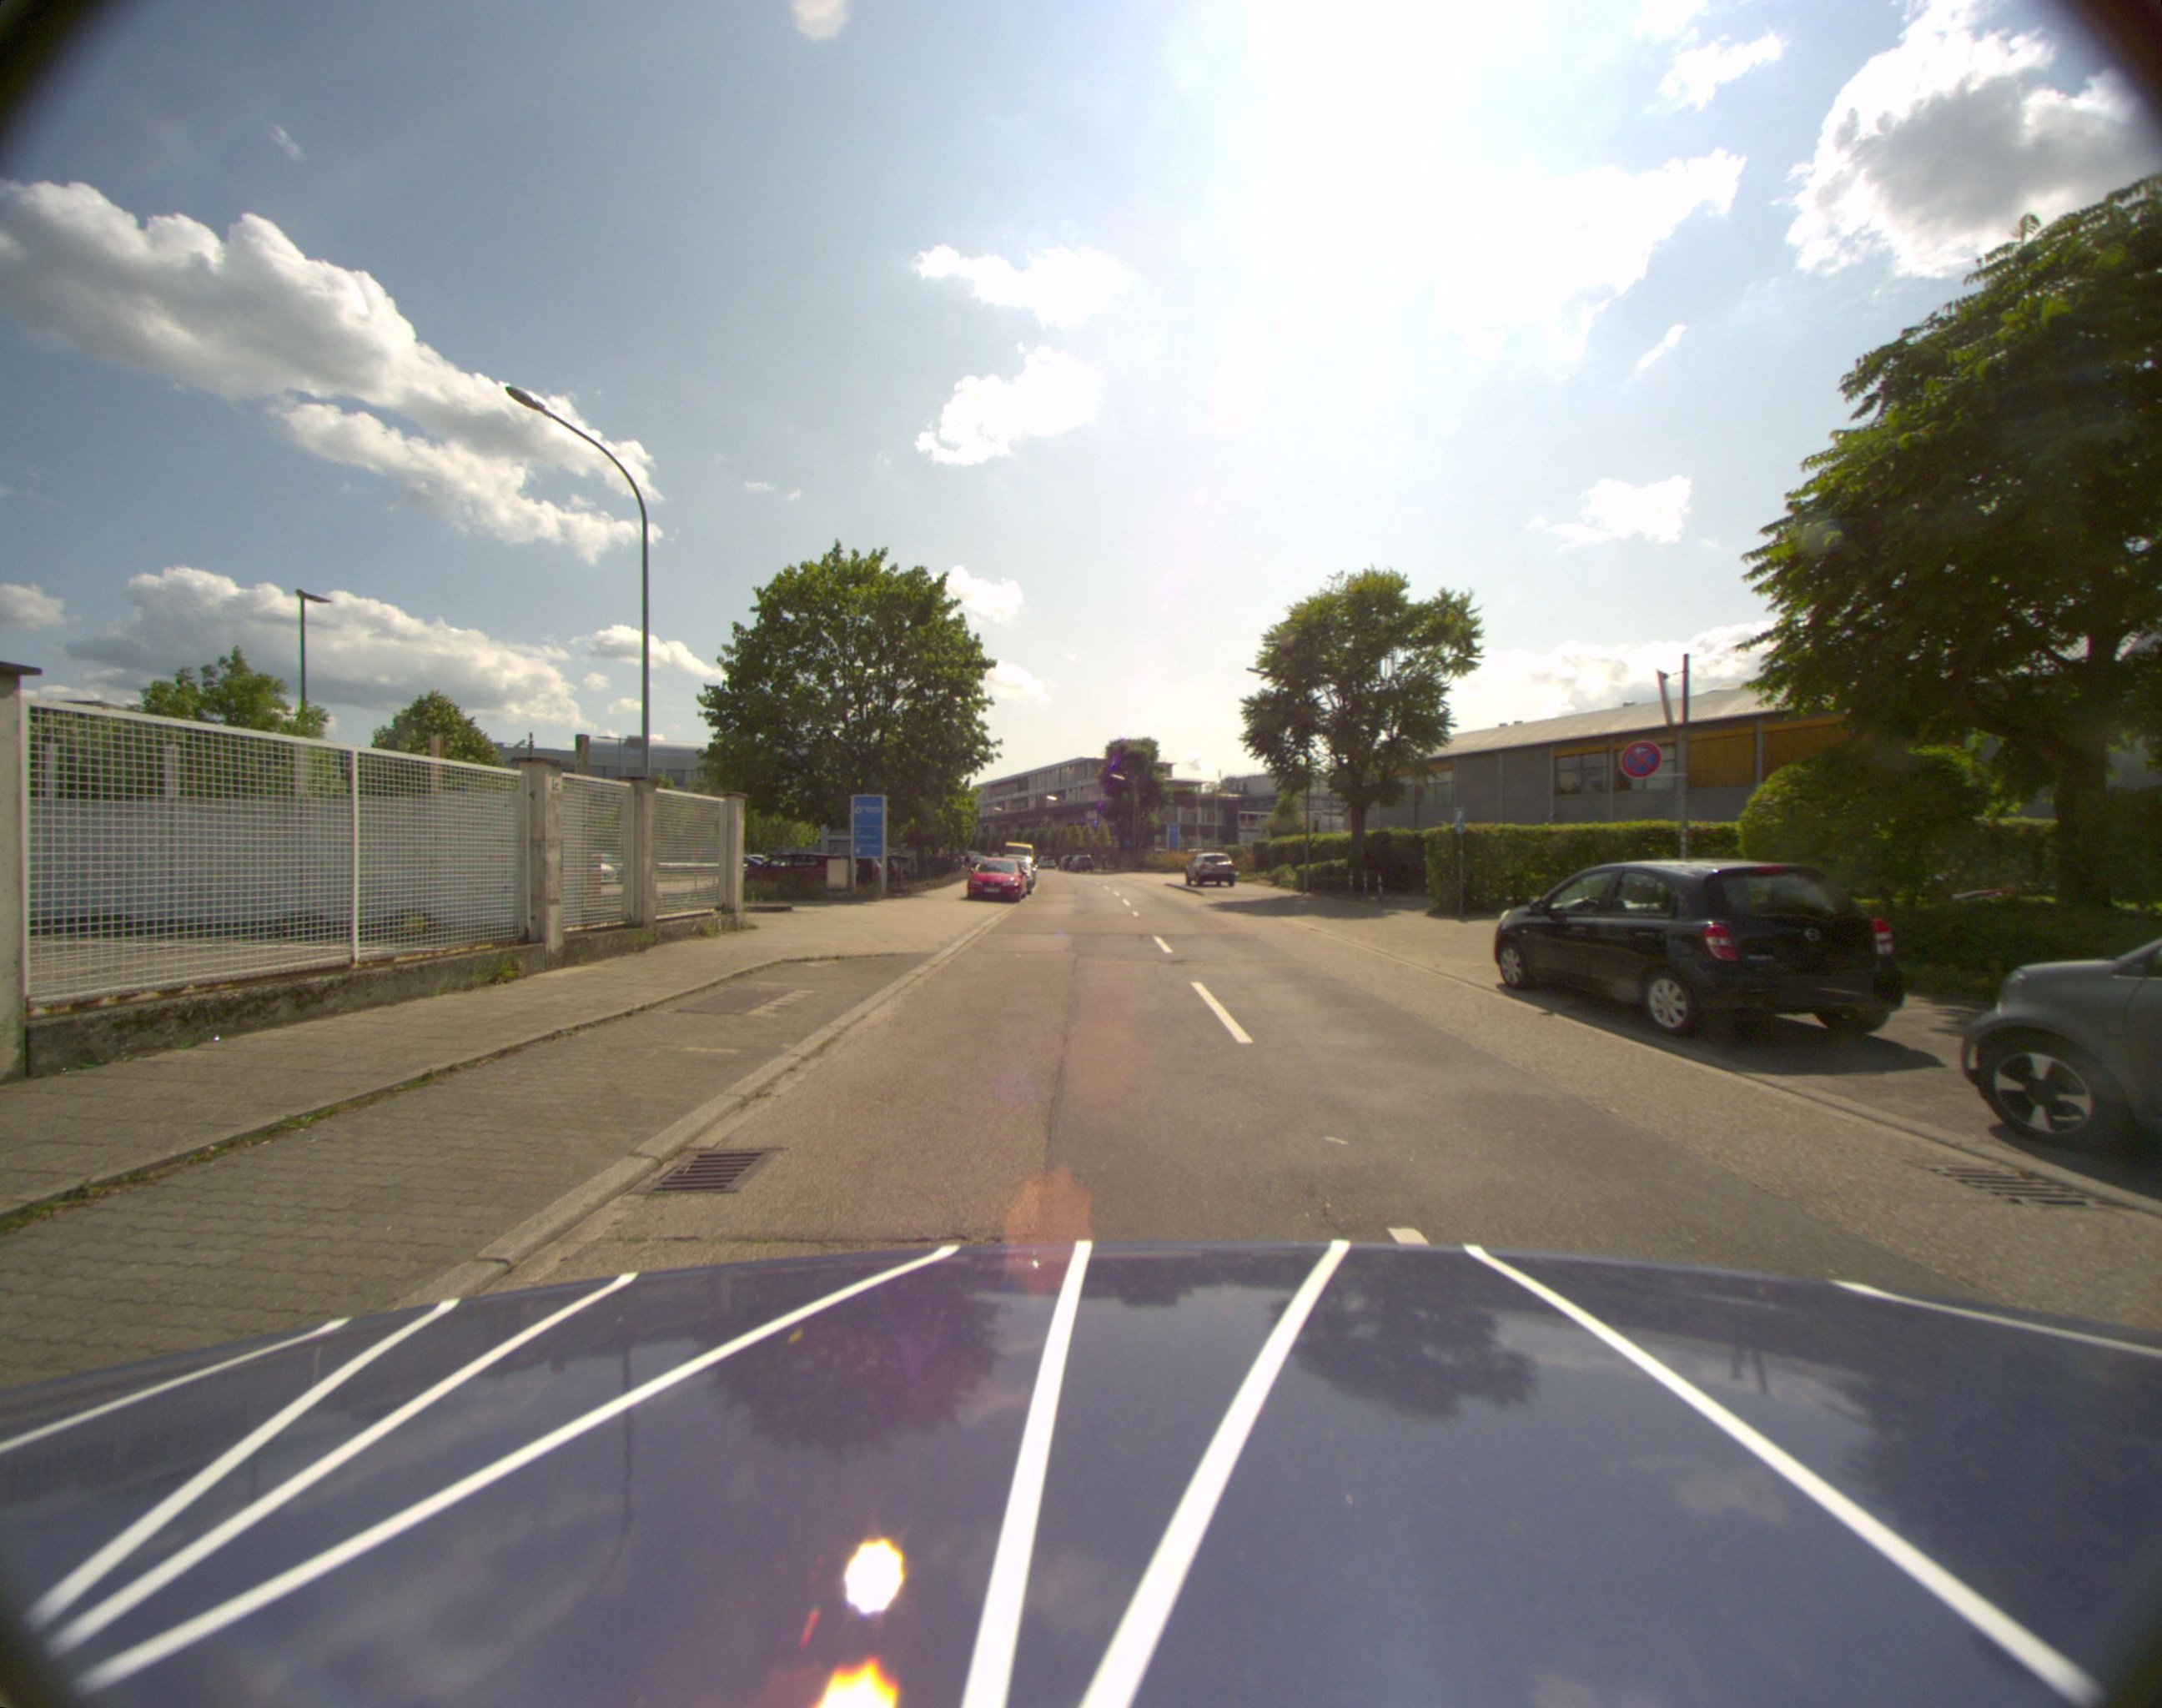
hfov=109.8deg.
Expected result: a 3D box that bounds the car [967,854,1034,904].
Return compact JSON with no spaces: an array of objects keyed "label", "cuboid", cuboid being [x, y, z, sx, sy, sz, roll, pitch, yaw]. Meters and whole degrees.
[{"label":"car","cuboid":[-2.730,0.811,26.619,1.758,1.478,4.224,4,0,1]}]

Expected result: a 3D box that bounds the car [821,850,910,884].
[{"label":"car","cuboid":[-10.795,0.645,38.268,3.884,1.584,1.910,1,1,1]}]

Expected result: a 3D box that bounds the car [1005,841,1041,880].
[{"label":"car","cuboid":[-3.931,0.385,51.047,2.163,2.450,6.635,1,1,-5]}]

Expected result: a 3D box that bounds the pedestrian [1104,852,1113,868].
[{"label":"pedestrian","cuboid":[2.831,0.622,78.149,0.845,1.682,0.830,-2,1,-8]}]

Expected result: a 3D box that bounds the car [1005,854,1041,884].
[{"label":"car","cuboid":[-3.381,0.814,43.698,1.881,1.468,5.164,3,0,-5]}]

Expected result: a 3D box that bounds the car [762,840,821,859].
[{"label":"car","cuboid":[-26.894,-0.395,70.798,4.868,1.756,1.912,0,1,-13]}]

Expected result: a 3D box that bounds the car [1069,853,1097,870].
[{"label":"car","cuboid":[0.175,0.791,78.455,1.806,1.641,4.683,-1,1,-14]}]

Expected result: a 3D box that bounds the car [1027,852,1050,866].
[{"label":"car","cuboid":[-5.528,0.623,98.235,1.741,1.646,4.303,-1,1,-20]}]

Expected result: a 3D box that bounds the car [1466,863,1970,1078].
[{"label":"car","cuboid":[5.926,0.928,7.855,1.849,1.499,4.000,-3,0,1]}]

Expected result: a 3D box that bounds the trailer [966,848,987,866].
[{"label":"trailer","cuboid":[-12.574,0.339,91.303,1.753,2.055,3.941,3,0,-18]}]

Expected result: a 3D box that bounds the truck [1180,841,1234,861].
[{"label":"truck","cuboid":[16.488,-0.388,99.272,6.944,2.642,2.400,0,0,-25]}]

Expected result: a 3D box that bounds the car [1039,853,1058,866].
[{"label":"car","cuboid":[-4.027,0.637,93.797,1.615,1.514,3.069,-1,1,-18]}]

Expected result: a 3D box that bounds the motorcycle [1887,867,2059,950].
[{"label":"motorcycle","cuboid":[14.513,0.843,12.458,0.533,1.213,1.940,0,1,1]}]

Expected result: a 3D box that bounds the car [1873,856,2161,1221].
[{"label":"car","cuboid":[5.897,0.878,3.191,1.655,1.636,3.273,-3,0,-1]}]

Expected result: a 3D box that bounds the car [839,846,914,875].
[{"label":"car","cuboid":[-12.499,0.390,46.684,4.332,1.612,1.761,1,0,-11]}]

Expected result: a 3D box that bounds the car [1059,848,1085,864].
[{"label":"car","cuboid":[-1.014,0.226,83.743,1.782,1.673,4.224,-2,1,-15]}]

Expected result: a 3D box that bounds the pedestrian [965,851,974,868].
[{"label":"pedestrian","cuboid":[-11.527,0.568,78.460,0.724,1.683,0.738,4,-1,-19]}]

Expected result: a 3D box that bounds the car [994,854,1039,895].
[{"label":"car","cuboid":[-2.722,0.802,31.901,1.705,1.478,3.805,4,0,-5]}]

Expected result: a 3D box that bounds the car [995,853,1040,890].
[{"label":"car","cuboid":[-3.077,0.822,37.511,1.837,1.599,4.567,4,0,-1]}]

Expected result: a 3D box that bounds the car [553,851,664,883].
[{"label":"car","cuboid":[-21.622,0.578,34.855,4.012,1.388,1.844,0,0,4]}]

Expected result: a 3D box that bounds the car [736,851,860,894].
[{"label":"car","cuboid":[-11.149,0.714,30.133,4.219,1.584,1.910,1,1,1]}]

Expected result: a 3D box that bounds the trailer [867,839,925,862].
[{"label":"trailer","cuboid":[-16.623,-0.318,68.452,5.066,2.070,2.059,0,1,-13]}]

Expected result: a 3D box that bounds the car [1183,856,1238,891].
[{"label":"car","cuboid":[6.341,0.905,37.714,1.762,1.565,4.475,-1,1,-3]}]

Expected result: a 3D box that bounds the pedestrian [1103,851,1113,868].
[{"label":"pedestrian","cuboid":[2.784,0.609,79.279,0.831,1.751,0.844,-2,1,-8]}]

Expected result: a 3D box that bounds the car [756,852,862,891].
[{"label":"car","cuboid":[-11.678,0.734,32.851,3.884,1.584,1.910,1,1,1]}]

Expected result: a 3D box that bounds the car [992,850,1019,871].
[{"label":"car","cuboid":[-6.920,0.523,69.153,1.856,1.755,5.071,2,0,-11]}]

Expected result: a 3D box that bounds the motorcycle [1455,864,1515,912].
[{"label":"motorcycle","cuboid":[11.135,0.904,21.018,0.533,1.213,2.085,0,1,-1]}]

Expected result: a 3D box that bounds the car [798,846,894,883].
[{"label":"car","cuboid":[-10.953,0.461,35.640,3.884,1.628,1.910,1,1,1]}]

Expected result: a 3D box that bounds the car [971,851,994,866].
[{"label":"car","cuboid":[-11.333,0.476,87.129,1.868,1.672,4.703,2,0,-16]}]
